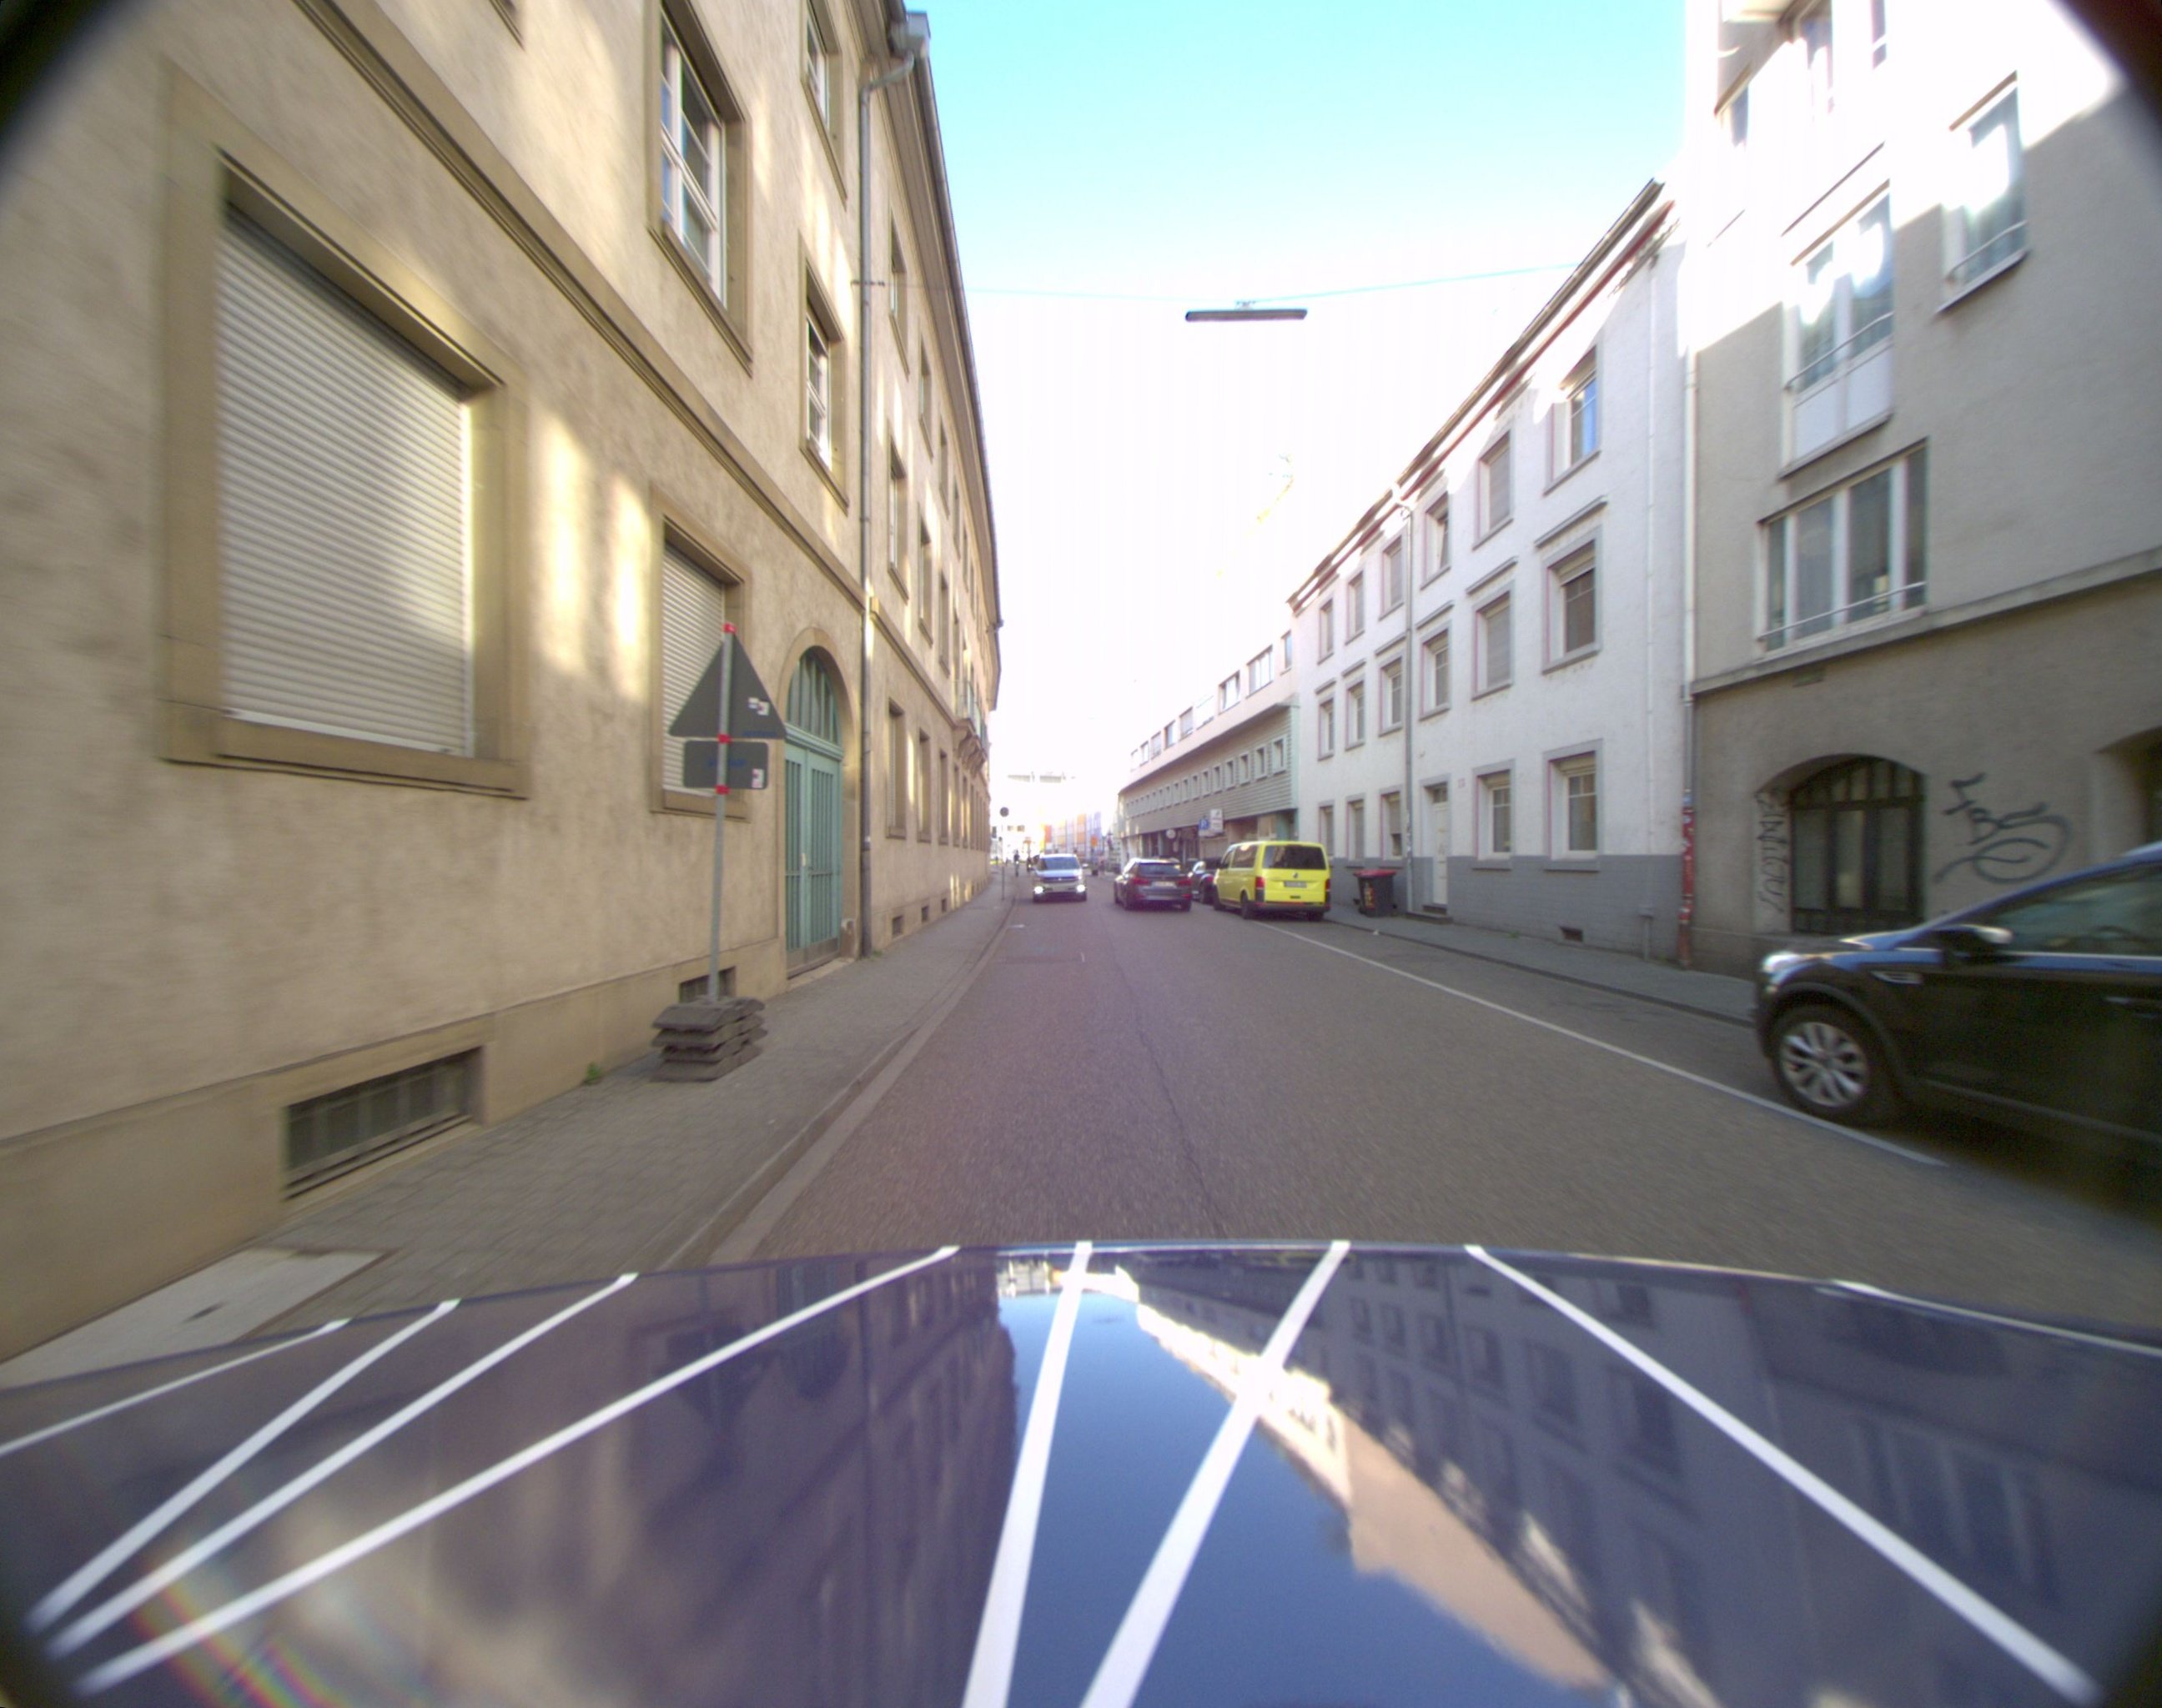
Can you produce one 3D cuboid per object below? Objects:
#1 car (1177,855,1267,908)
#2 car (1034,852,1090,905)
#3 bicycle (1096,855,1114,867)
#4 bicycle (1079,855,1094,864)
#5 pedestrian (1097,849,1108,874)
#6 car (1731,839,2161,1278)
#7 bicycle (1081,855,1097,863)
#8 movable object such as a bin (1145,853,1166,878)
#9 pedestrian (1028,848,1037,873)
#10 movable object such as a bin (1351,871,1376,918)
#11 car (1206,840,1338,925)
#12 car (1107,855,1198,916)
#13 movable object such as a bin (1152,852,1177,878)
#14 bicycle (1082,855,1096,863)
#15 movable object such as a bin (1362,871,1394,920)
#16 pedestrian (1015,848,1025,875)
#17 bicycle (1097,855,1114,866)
[{"bbox_3d":[4.484,0.838,24.871,1.824,1.477,4.074,2,0,-5],"label":"car"},{"bbox_3d":[-0.682,0.781,26.220,1.683,1.568,4.241,-3,1,-2],"label":"car"},{"bbox_3d":[2.506,0.702,79.541,1.821,1.094,0.749,-4,1,-7],"label":"bicycle"},{"bbox_3d":[0.701,0.662,93.325,1.804,0.940,0.388,-4,1,-7],"label":"bicycle"},{"bbox_3d":[1.479,0.506,51.897,0.494,1.660,0.627,-3,1,-19],"label":"pedestrian"},{"bbox_3d":[5.088,0.831,2.816,1.744,1.701,4.190,3,0,1],"label":"car"},{"bbox_3d":[0.983,0.642,94.057,1.804,0.940,0.388,-4,1,-7],"label":"bicycle"},{"bbox_3d":[4.416,0.695,45.380,0.971,1.462,1.474,0,-1,-7],"label":"movable object such as a bin"},{"bbox_3d":[-3.577,0.481,55.796,0.603,1.770,0.651,0,1,-8],"label":"pedestrian"},{"bbox_3d":[6.771,0.965,18.211,0.411,1.098,0.433,1,1,-1],"label":"movable object such as a bin"},{"bbox_3d":[4.738,0.641,19.648,1.885,1.856,4.862,2,0,-3],"label":"car"},{"bbox_3d":[1.942,0.822,21.875,1.720,1.569,4.187,0,0,-8],"label":"car"},{"bbox_3d":[4.783,0.631,43.682,1.126,1.511,1.341,0,0,-7],"label":"movable object such as a bin"},{"bbox_3d":[1.029,0.624,95.268,1.658,0.940,0.388,-4,1,-7],"label":"bicycle"},{"bbox_3d":[6.828,0.949,17.499,0.542,1.098,0.433,1,1,-1],"label":"movable object such as a bin"},{"bbox_3d":[-4.406,0.504,54.713,0.678,1.928,0.857,0,1,-8],"label":"pedestrian"},{"bbox_3d":[2.598,0.682,80.998,1.739,1.094,0.388,-4,1,-14],"label":"bicycle"}]
